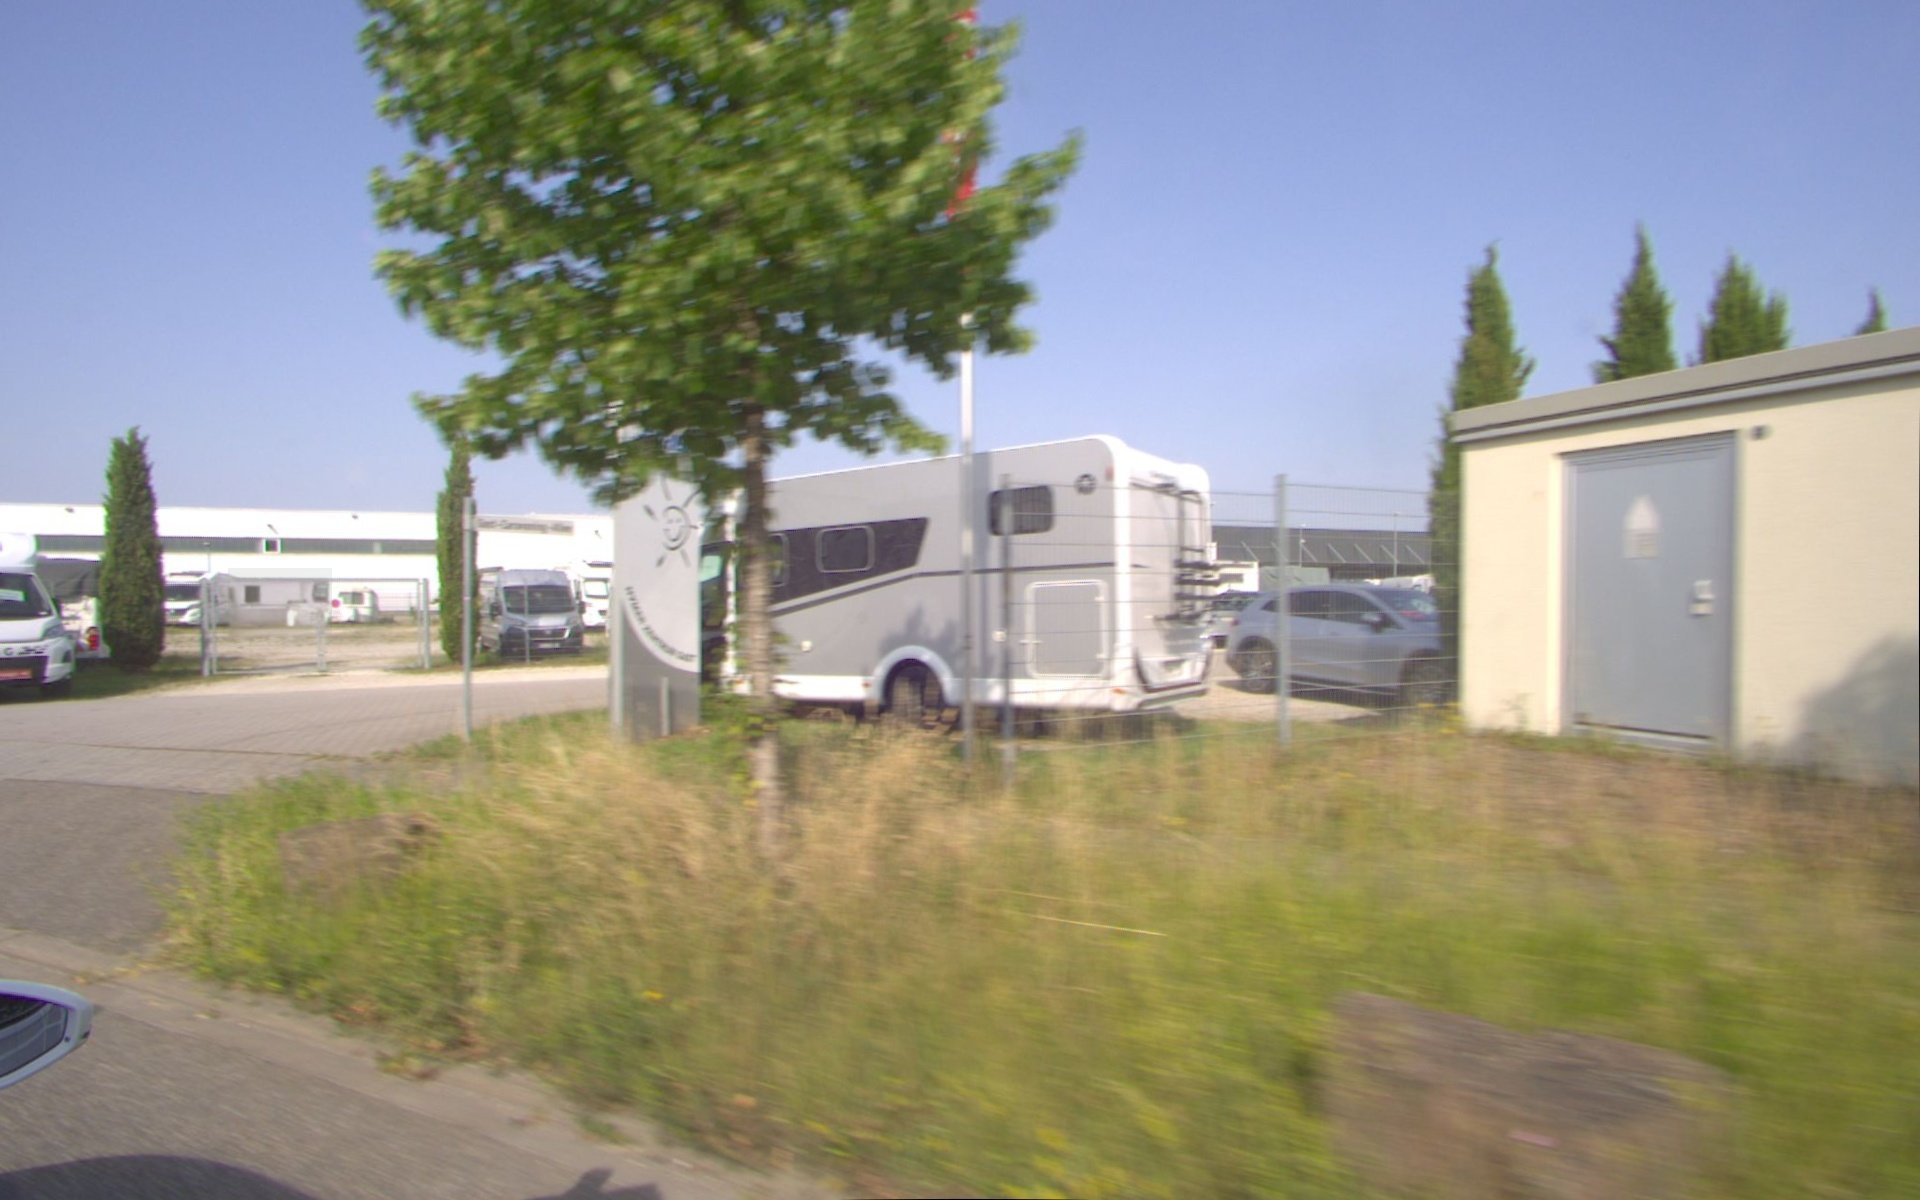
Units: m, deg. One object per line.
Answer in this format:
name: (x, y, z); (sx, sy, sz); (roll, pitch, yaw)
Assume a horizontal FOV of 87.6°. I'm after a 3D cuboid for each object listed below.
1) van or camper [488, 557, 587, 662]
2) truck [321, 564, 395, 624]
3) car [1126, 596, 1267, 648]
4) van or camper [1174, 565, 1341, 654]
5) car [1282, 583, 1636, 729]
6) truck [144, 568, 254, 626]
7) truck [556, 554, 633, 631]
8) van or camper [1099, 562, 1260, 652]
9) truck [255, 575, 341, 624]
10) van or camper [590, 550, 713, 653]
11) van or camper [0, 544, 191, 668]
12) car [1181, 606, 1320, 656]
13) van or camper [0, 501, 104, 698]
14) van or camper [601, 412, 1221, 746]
van or camper: (-11.802, 0.217, 27.724); (1.970, 2.568, 6.120); (-1, 1, -28)
truck: (-31.152, -0.302, 52.062); (2.419, 2.864, 7.971); (0, 0, -25)
car: (6.837, 0.616, 29.304); (1.692, 1.397, 3.976); (2, -1, -32)
van or camper: (11.532, 0.388, 39.442); (2.455, 3.170, 6.580); (0, 0, -27)
car: (6.539, 0.639, 13.578); (1.704, 1.665, 3.976); (2, 0, -31)
truck: (-35.528, -0.136, 47.038); (2.420, 2.504, 7.971); (0, 0, -25)
truck: (-15.460, -0.286, 41.975); (2.419, 2.883, 7.971); (0, 0, -25)
van or camper: (8.296, 0.291, 38.716); (2.455, 3.170, 6.580); (0, 0, -27)
truck: (-33.512, -0.031, 50.971); (2.420, 2.295, 7.971); (0, 0, -25)
van or camper: (-9.372, 0.057, 29.977); (2.293, 2.741, 6.577); (0, 0, -28)
van or camper: (-20.879, 0.103, 24.068); (2.452, 2.593, 6.597); (0, 0, -26)
car: (8.814, 0.924, 30.712); (1.692, 1.397, 3.976); (2, -1, -32)
van or camper: (-17.587, -0.017, 16.896); (6.860, 2.983, 2.329); (0, 1, 27)
van or camper: (-0.882, -0.129, 11.639); (7.240, 2.885, 2.343); (-1, 0, 34)
